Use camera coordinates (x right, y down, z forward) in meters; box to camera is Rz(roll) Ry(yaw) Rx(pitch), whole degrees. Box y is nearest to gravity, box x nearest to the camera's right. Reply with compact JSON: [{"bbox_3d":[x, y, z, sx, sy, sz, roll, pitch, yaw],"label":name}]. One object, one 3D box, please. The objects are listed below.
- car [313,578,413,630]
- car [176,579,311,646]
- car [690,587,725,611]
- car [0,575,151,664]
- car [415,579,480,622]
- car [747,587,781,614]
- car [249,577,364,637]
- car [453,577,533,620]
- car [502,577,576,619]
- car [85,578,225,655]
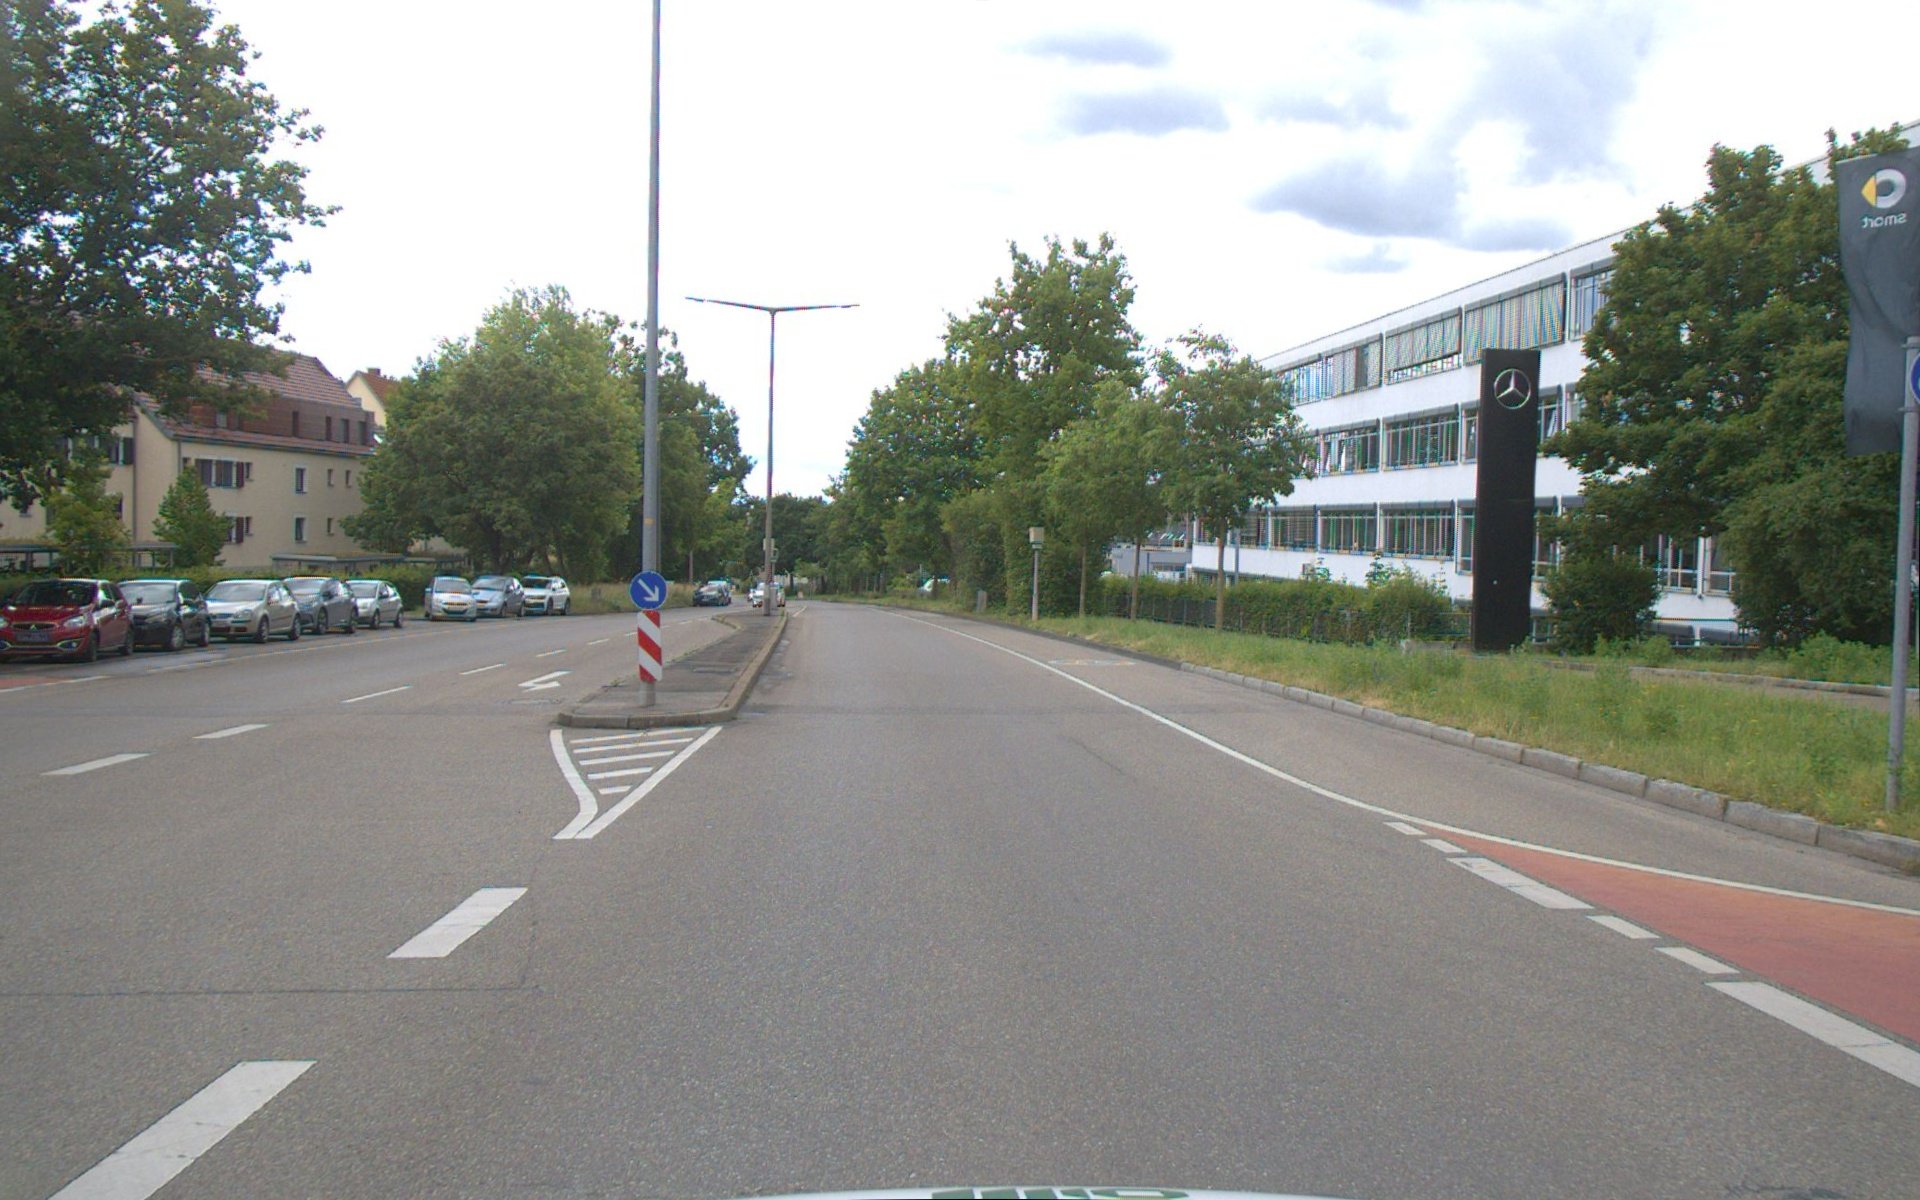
[{"bbox_3d":[-18.383,0.102,51.086,1.838,1.533,3.997,0,1,-3],"label":"car"},{"bbox_3d":[-17.262,0.273,40.047,1.839,1.533,4.052,1,0,-6],"label":"car"},{"bbox_3d":[-16.693,-0.065,109.679,1.838,1.598,4.647,0,0,-3],"label":"car"},{"bbox_3d":[-16.590,0.319,30.765,1.842,1.533,3.877,1,1,-12],"label":"car"},{"bbox_3d":[-18.689,-0.011,60.183,1.850,1.533,3.971,0,1,-24],"label":"car"},{"bbox_3d":[-12.340,0.052,104.128,1.838,1.598,4.336,1,-1,-3],"label":"car"},{"bbox_3d":[-18.015,0.161,45.795,1.838,1.533,3.996,1,1,-5],"label":"car"},{"bbox_3d":[-18.367,-0.025,65.203,1.836,1.624,4.001,1,-1,2],"label":"car"},{"bbox_3d":[-17.853,-0.057,70.370,1.836,1.696,4.391,1,-1,2],"label":"car"},{"bbox_3d":[-17.006,0.323,35.135,1.843,1.533,3.985,1,0,-14],"label":"car"}]
